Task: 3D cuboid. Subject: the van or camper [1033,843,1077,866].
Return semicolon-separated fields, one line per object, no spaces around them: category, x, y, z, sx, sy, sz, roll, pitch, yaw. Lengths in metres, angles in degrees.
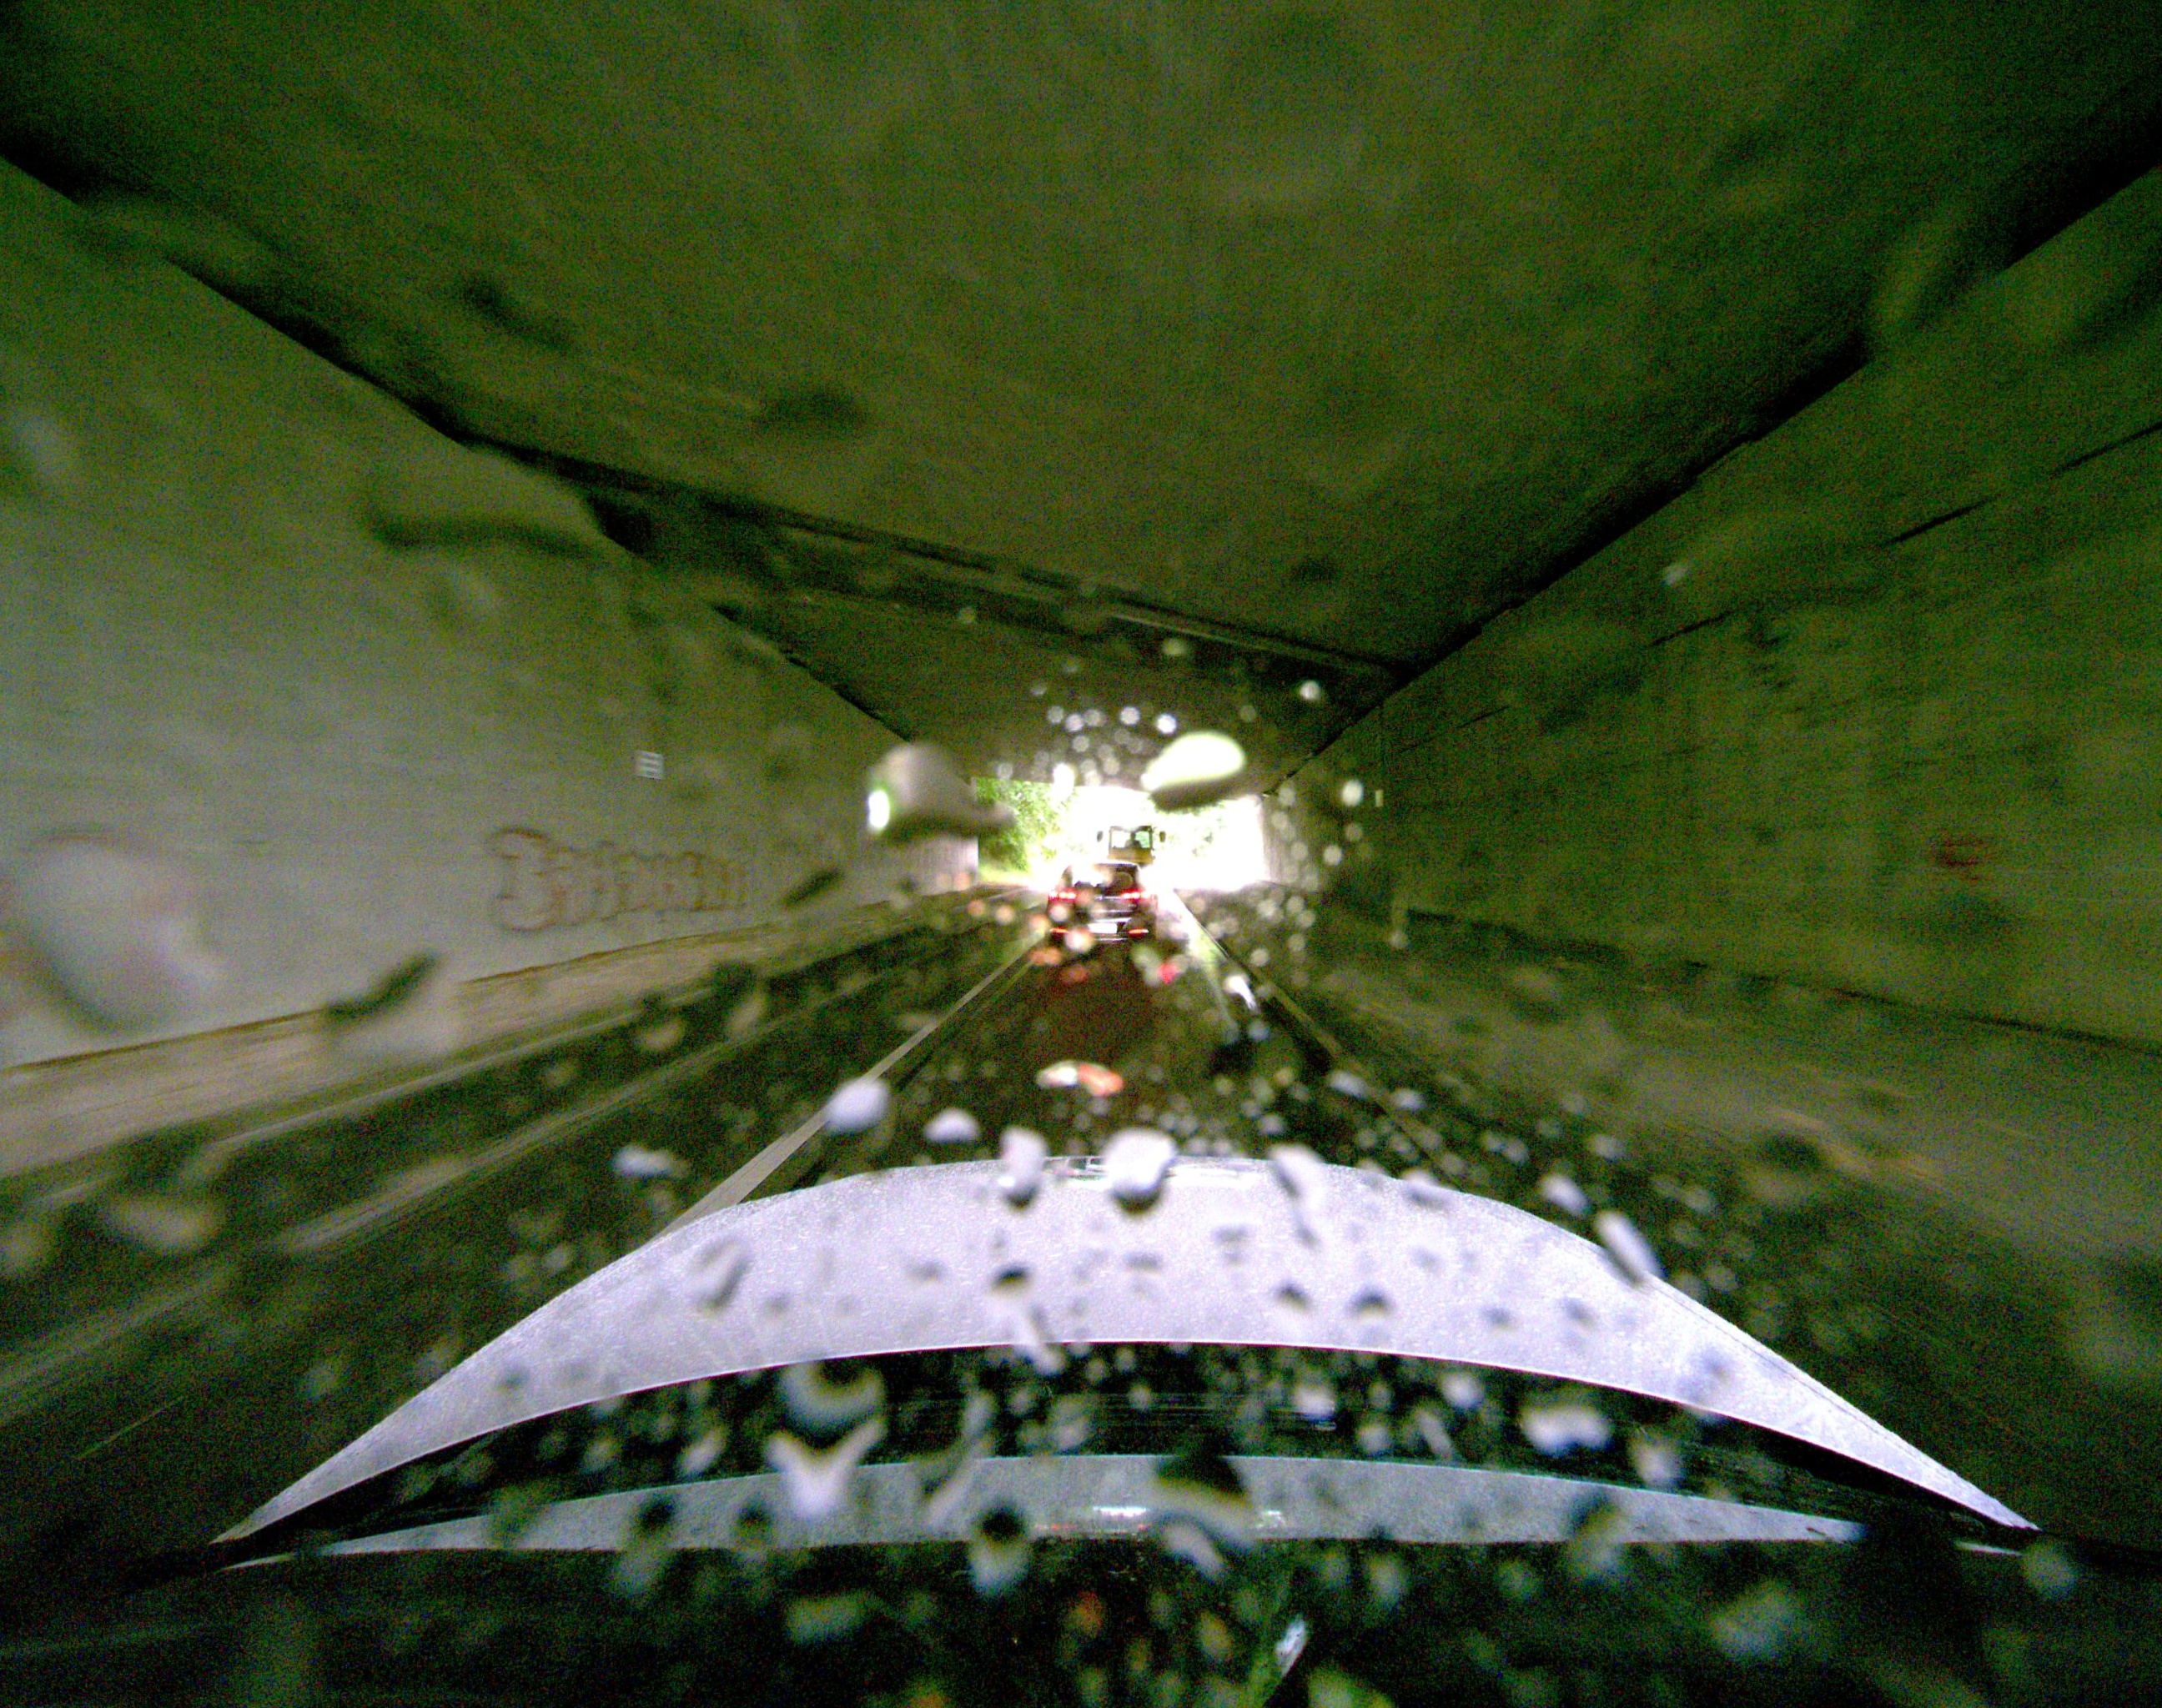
van or camper;-2.530;0.016;78.595;2.009;2.098;4.640;1;0;-36

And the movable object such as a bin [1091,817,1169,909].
movable object such as a bin;1.619;0.258;27.123;2.236;2.669;6.632;1;0;3

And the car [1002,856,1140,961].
car;-0.113;0.793;13.826;1.987;1.487;4.000;1;0;1
